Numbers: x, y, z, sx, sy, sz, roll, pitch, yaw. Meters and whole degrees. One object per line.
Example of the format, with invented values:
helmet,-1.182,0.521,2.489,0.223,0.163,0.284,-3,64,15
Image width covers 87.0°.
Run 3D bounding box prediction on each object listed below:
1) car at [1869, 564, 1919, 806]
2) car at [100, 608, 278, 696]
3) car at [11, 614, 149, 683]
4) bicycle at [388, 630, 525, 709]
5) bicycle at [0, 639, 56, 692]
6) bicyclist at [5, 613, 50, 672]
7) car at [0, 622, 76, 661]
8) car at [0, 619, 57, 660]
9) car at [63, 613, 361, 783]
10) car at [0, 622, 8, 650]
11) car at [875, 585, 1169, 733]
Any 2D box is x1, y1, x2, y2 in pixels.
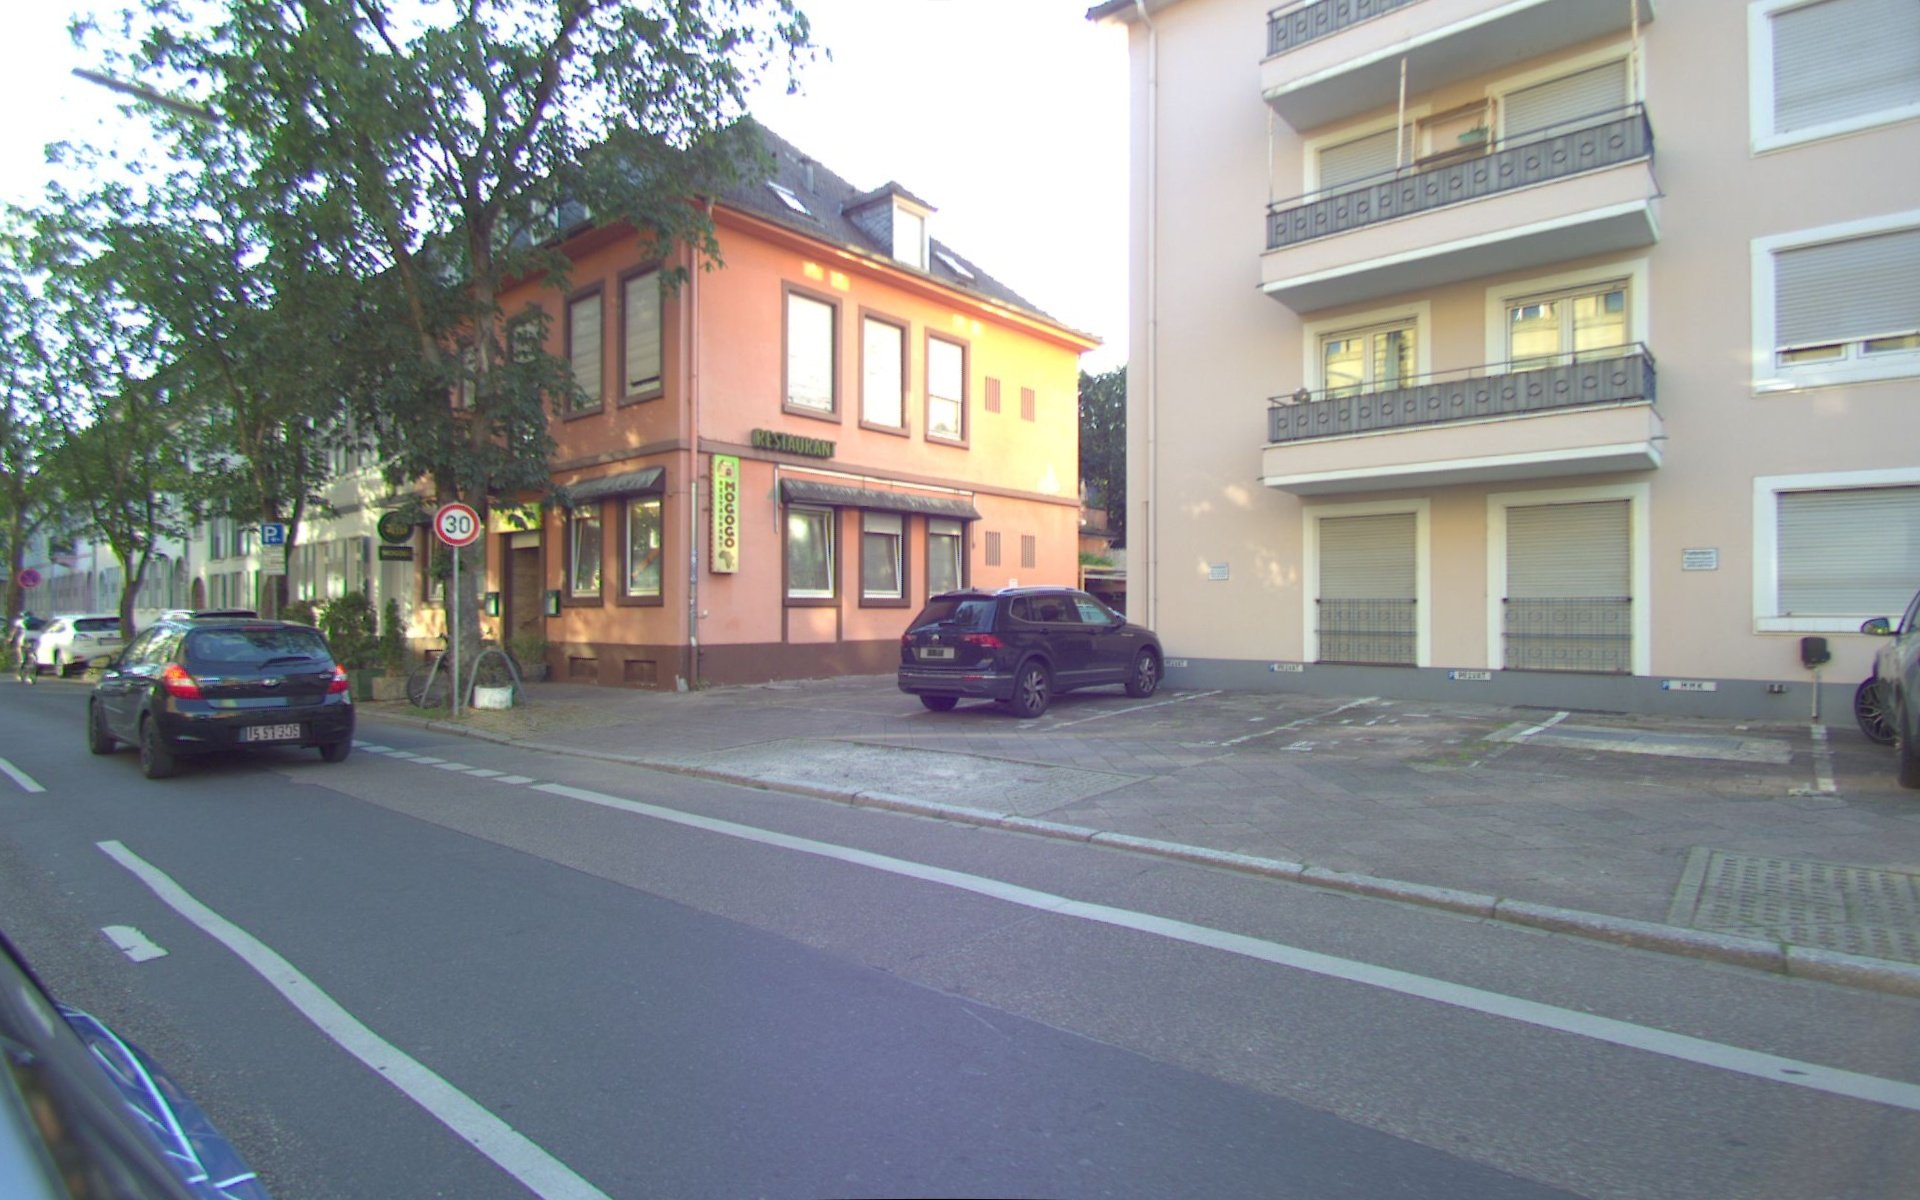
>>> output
car,8.497,0.505,7.851,1.914,1.617,4.374,-1,0,39
car,-18.184,1.155,23.801,5.036,1.772,1.813,-1,3,35
car,-25.035,1.322,28.746,4.645,1.680,1.813,-1,3,35
bicycle,-7.804,1.047,15.758,0.609,1.112,1.850,-1,-1,34
bicycle,-22.730,1.572,24.650,2.048,1.164,0.619,1,0,36
bicyclist,-22.723,1.016,24.657,0.927,1.374,0.620,1,0,35
car,-38.939,1.688,41.306,1.801,1.557,4.172,-1,-2,43
car,-41.203,1.666,42.863,1.798,1.703,4.178,-1,-1,38
car,-8.010,0.932,10.724,3.850,1.483,1.641,-2,-3,40
car,-54.746,1.987,54.987,1.798,1.519,4.178,-1,-1,38
car,1.024,0.681,14.083,1.862,1.678,4.374,-1,0,39
